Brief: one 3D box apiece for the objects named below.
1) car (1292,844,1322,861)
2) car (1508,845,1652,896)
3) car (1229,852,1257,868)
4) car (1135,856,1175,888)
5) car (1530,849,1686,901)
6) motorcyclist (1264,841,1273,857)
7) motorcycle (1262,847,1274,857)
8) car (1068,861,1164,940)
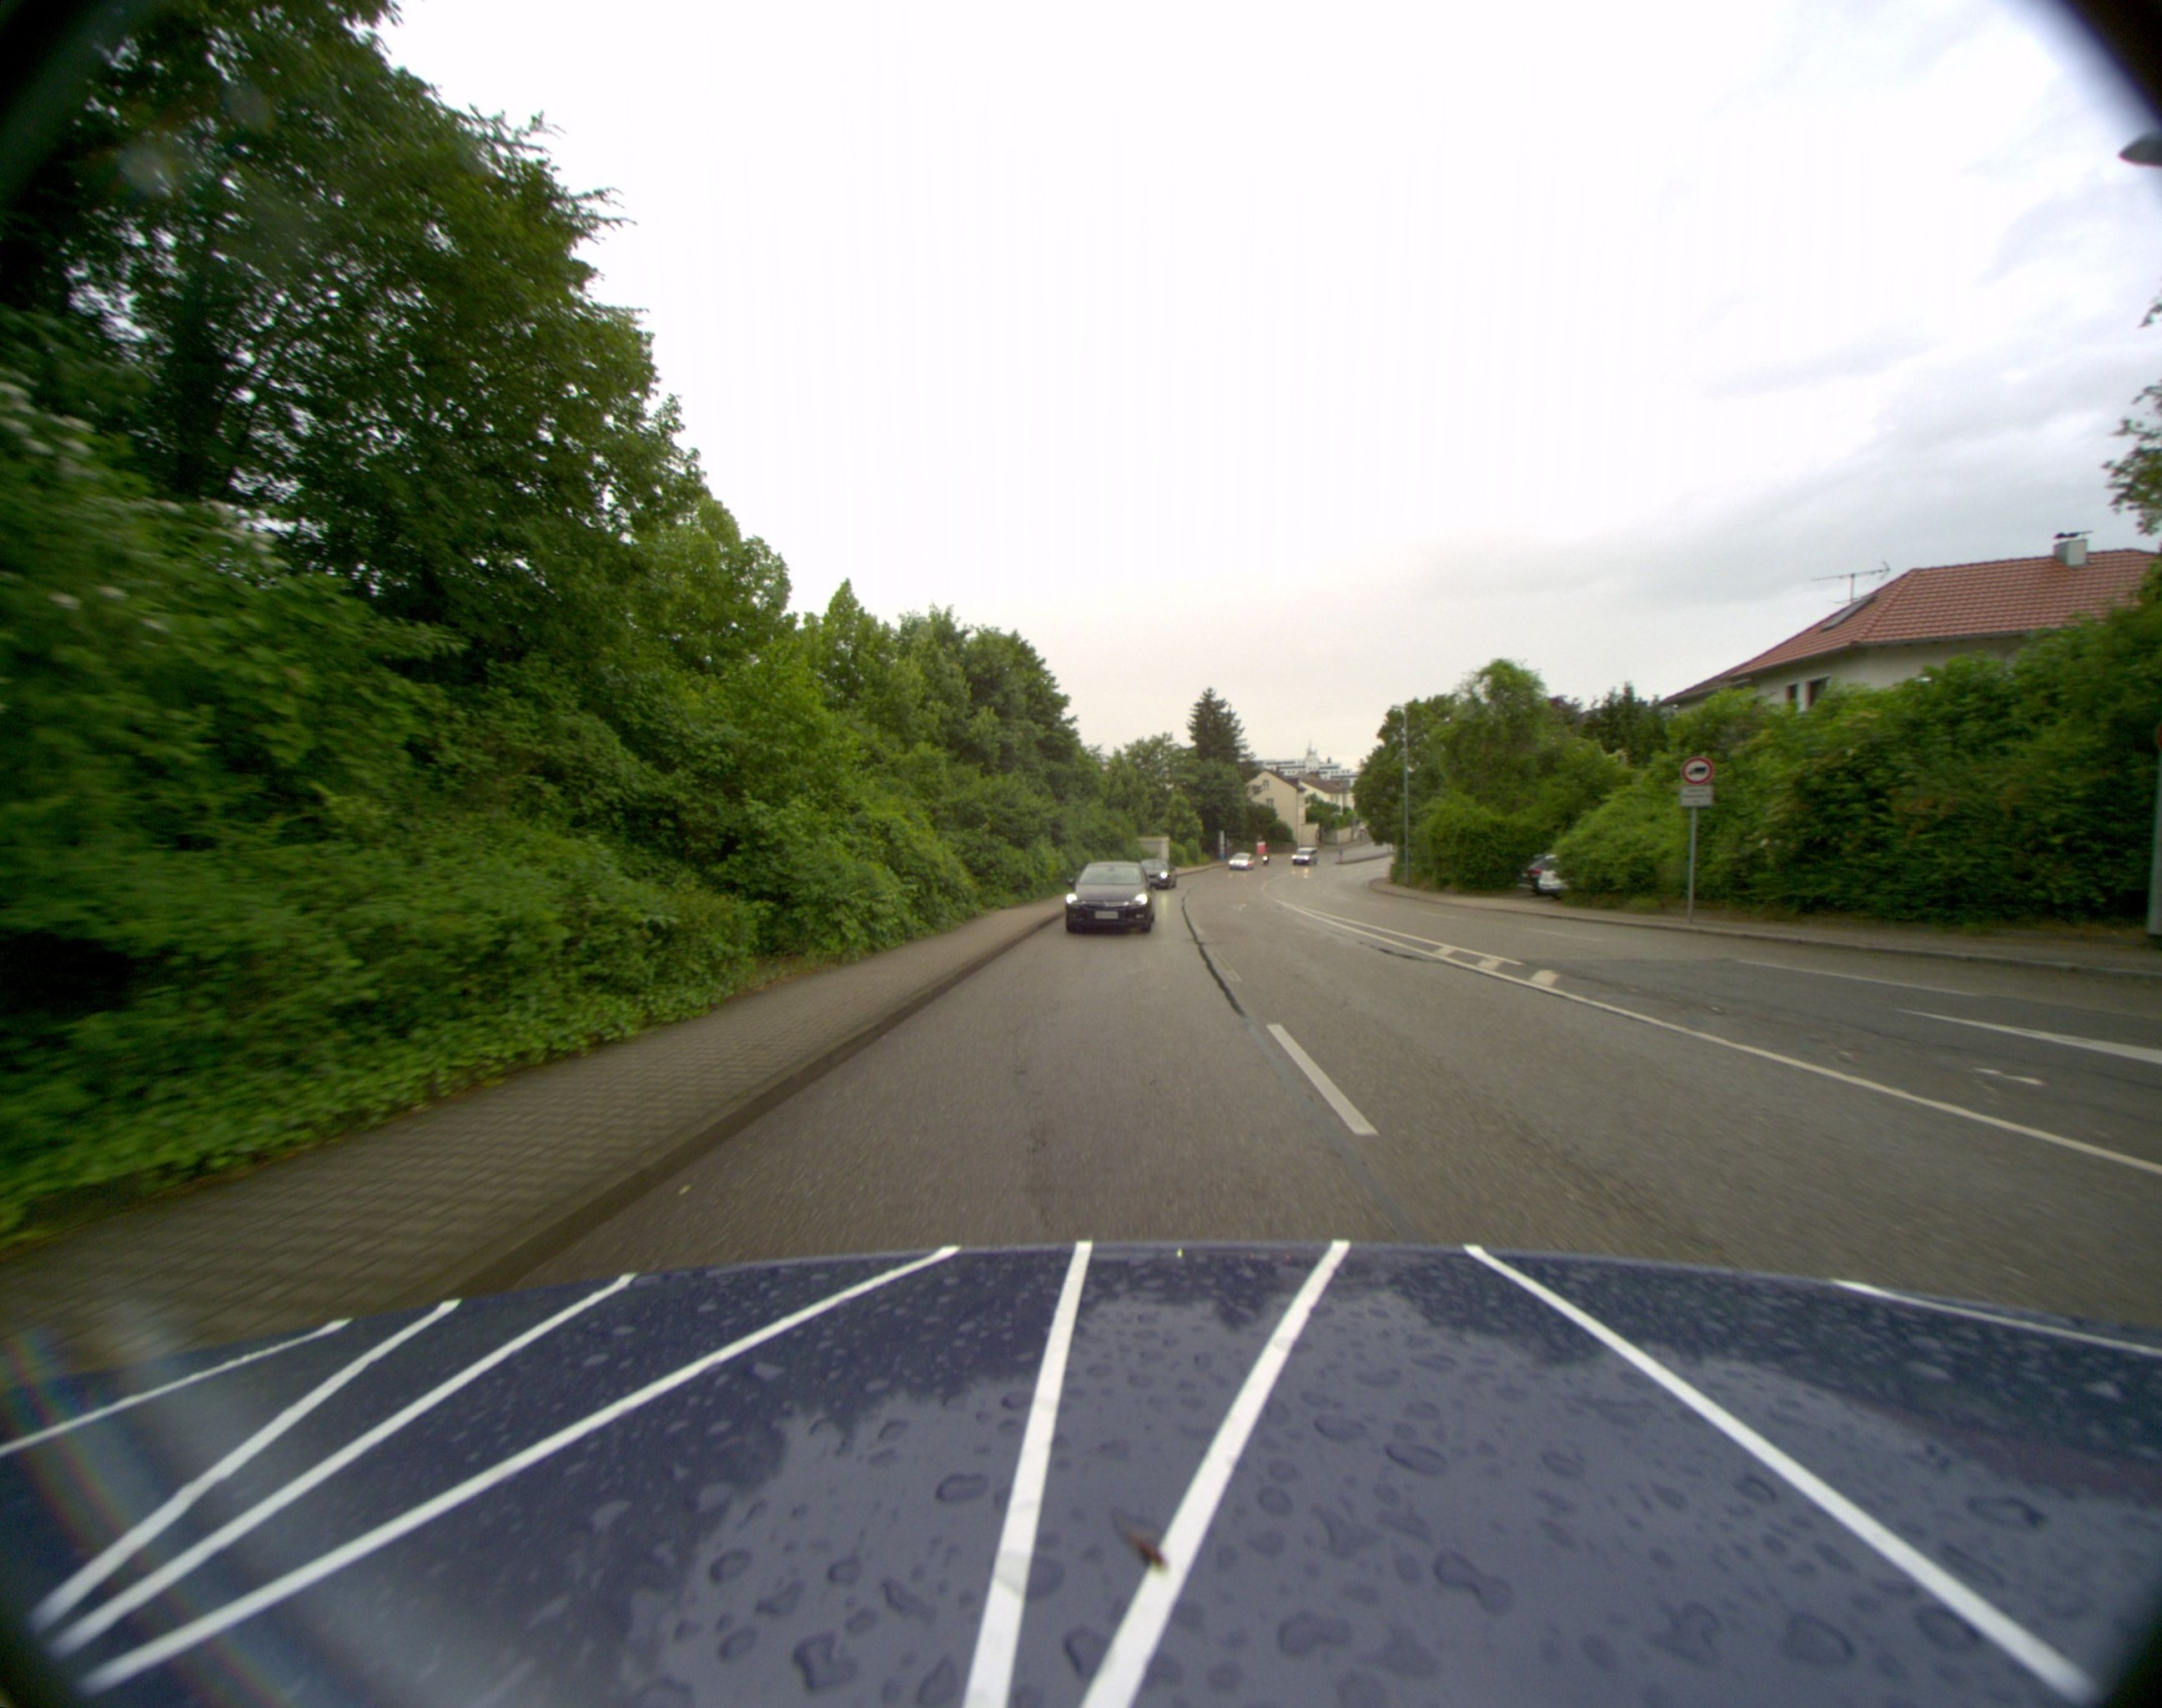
[{"bbox_3d":[24.698,-0.174,83.038,1.773,1.765,4.009,3,1,37],"label":"car"},{"bbox_3d":[18.714,0.600,28.672,3.995,1.527,2.001,-5,-1,7],"label":"car"},{"bbox_3d":[15.322,0.536,71.635,1.814,1.430,4.007,2,1,23],"label":"car"},{"bbox_3d":[3.806,0.880,38.752,1.871,1.497,4.199,0,0,6],"label":"car"},{"bbox_3d":[17.870,0.703,25.947,3.908,1.432,1.812,-5,-1,8],"label":"car"},{"bbox_3d":[20.200,-0.545,82.009,0.765,1.633,0.676,2,2,30],"label":"motorcyclist"},{"bbox_3d":[20.193,-0.245,81.987,0.691,1.047,1.750,2,2,30],"label":"motorcycle"},{"bbox_3d":[0.892,0.920,16.775,1.815,1.434,4.164,0,0,6],"label":"car"}]
